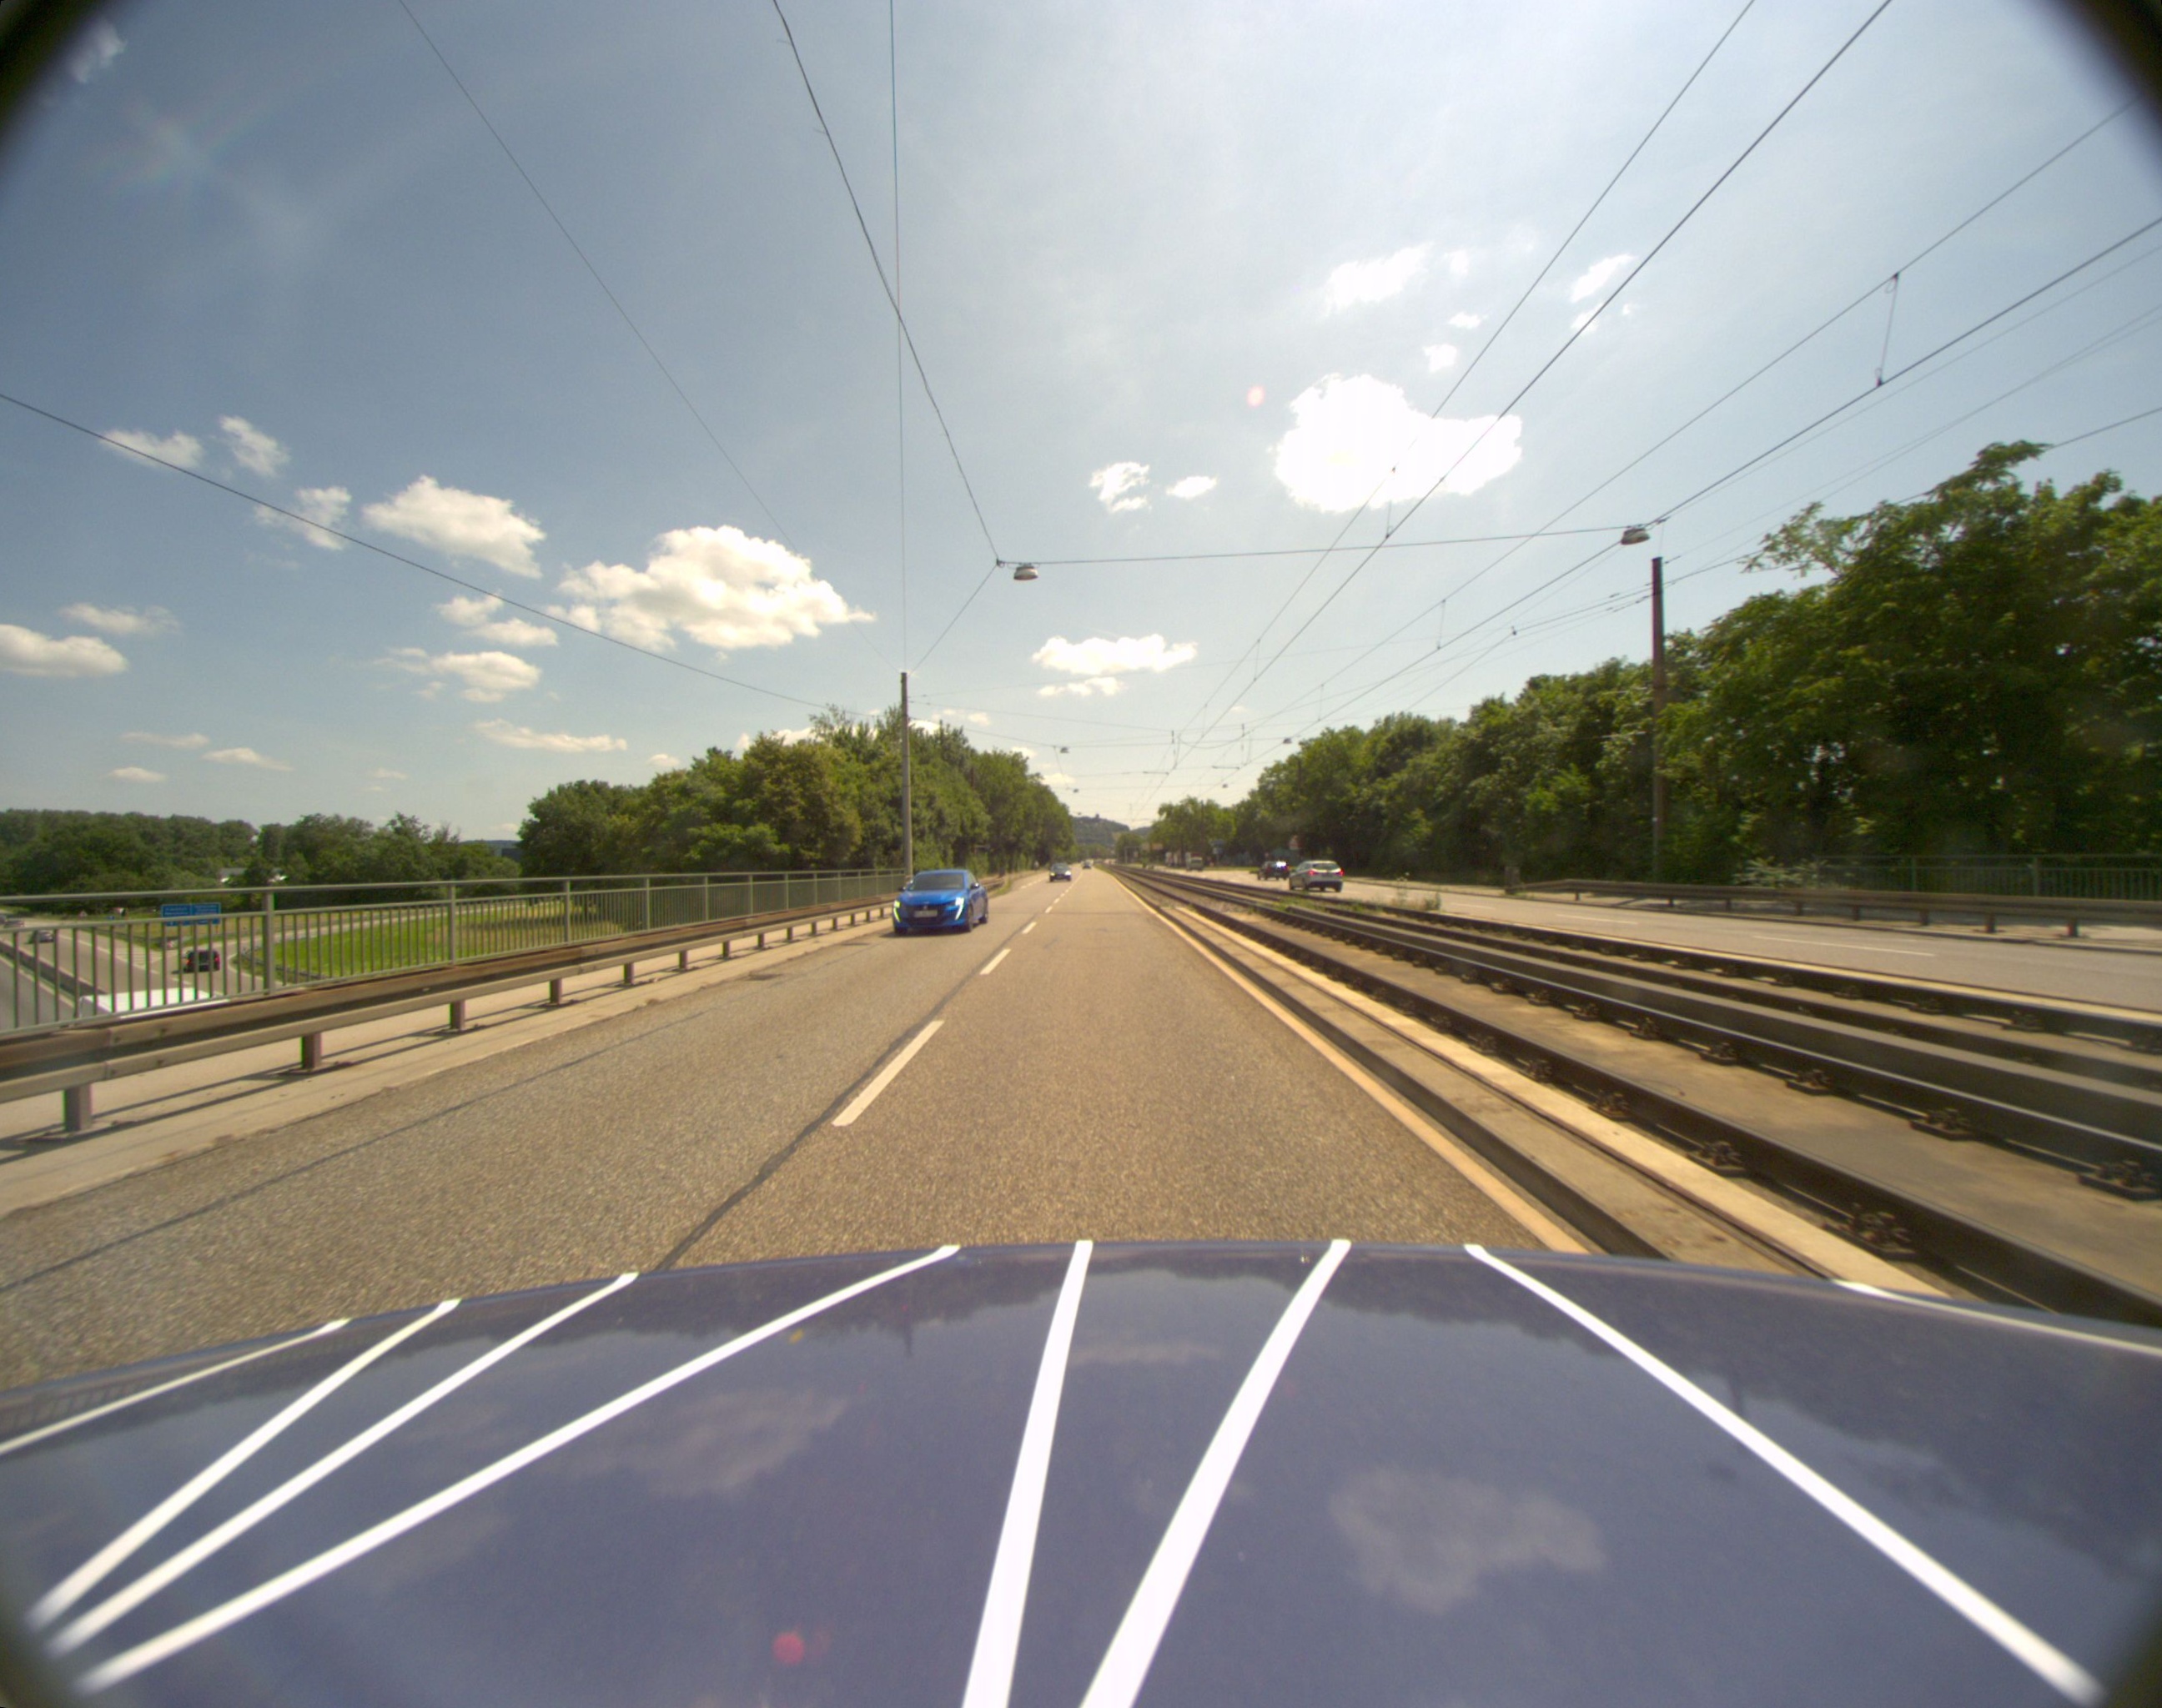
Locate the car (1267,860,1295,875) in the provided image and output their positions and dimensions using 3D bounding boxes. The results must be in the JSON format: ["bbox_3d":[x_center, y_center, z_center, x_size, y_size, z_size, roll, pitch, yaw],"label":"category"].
[{"bbox_3d":[18.296,1.203,69.624,1.567,1.339,3.929,0,0,2],"label":"car"}]

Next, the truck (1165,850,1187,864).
[{"bbox_3d":[25.426,0.900,203.999,3.421,3.680,6.750,-1,0,-17],"label":"truck"}]

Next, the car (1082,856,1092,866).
[{"bbox_3d":[1.299,1.486,158.923,1.998,2.002,4.000,-2,0,0],"label":"car"}]

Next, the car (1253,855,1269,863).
[{"bbox_3d":[39.436,1.158,166.230,1.567,1.781,3.392,-1,0,-25],"label":"car"}]

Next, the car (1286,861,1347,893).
[{"bbox_3d":[11.510,1.067,37.456,1.715,1.412,4.624,0,0,2],"label":"car"}]

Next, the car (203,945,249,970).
[{"bbox_3d":[-76.142,9.237,67.632,3.991,1.783,2.007,-6,0,33],"label":"car"}]

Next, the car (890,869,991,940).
[{"bbox_3d":[-3.273,1.129,18.341,1.660,1.397,3.743,-2,0,0],"label":"car"}]

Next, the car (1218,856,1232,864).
[{"bbox_3d":[33.908,1.441,178.950,1.567,1.781,3.392,-1,0,-25],"label":"car"}]

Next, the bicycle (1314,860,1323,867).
[{"bbox_3d":[28.548,1.142,91.408,0.587,0.814,2.069,-3,1,7],"label":"bicycle"}]

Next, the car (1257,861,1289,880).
[{"bbox_3d":[14.884,1.254,59.130,1.578,1.392,3.938,-1,0,1],"label":"car"}]

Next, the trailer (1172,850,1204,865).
[{"bbox_3d":[27.603,0.879,196.637,3.391,3.633,12.092,-1,0,-17],"label":"trailer"}]

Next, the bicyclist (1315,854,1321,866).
[{"bbox_3d":[28.529,0.697,91.406,0.570,1.360,0.631,-3,1,7],"label":"bicyclist"}]

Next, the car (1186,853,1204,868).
[{"bbox_3d":[15.937,0.889,106.362,1.816,1.914,5.179,0,0,2],"label":"car"}]

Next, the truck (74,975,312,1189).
[{"bbox_3d":[-30.060,6.898,25.367,14.747,4.196,2.836,-1,3,32],"label":"truck"}]

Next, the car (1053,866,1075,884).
[{"bbox_3d":[-1.438,1.795,65.380,1.769,1.359,3.744,-2,0,1],"label":"car"}]
